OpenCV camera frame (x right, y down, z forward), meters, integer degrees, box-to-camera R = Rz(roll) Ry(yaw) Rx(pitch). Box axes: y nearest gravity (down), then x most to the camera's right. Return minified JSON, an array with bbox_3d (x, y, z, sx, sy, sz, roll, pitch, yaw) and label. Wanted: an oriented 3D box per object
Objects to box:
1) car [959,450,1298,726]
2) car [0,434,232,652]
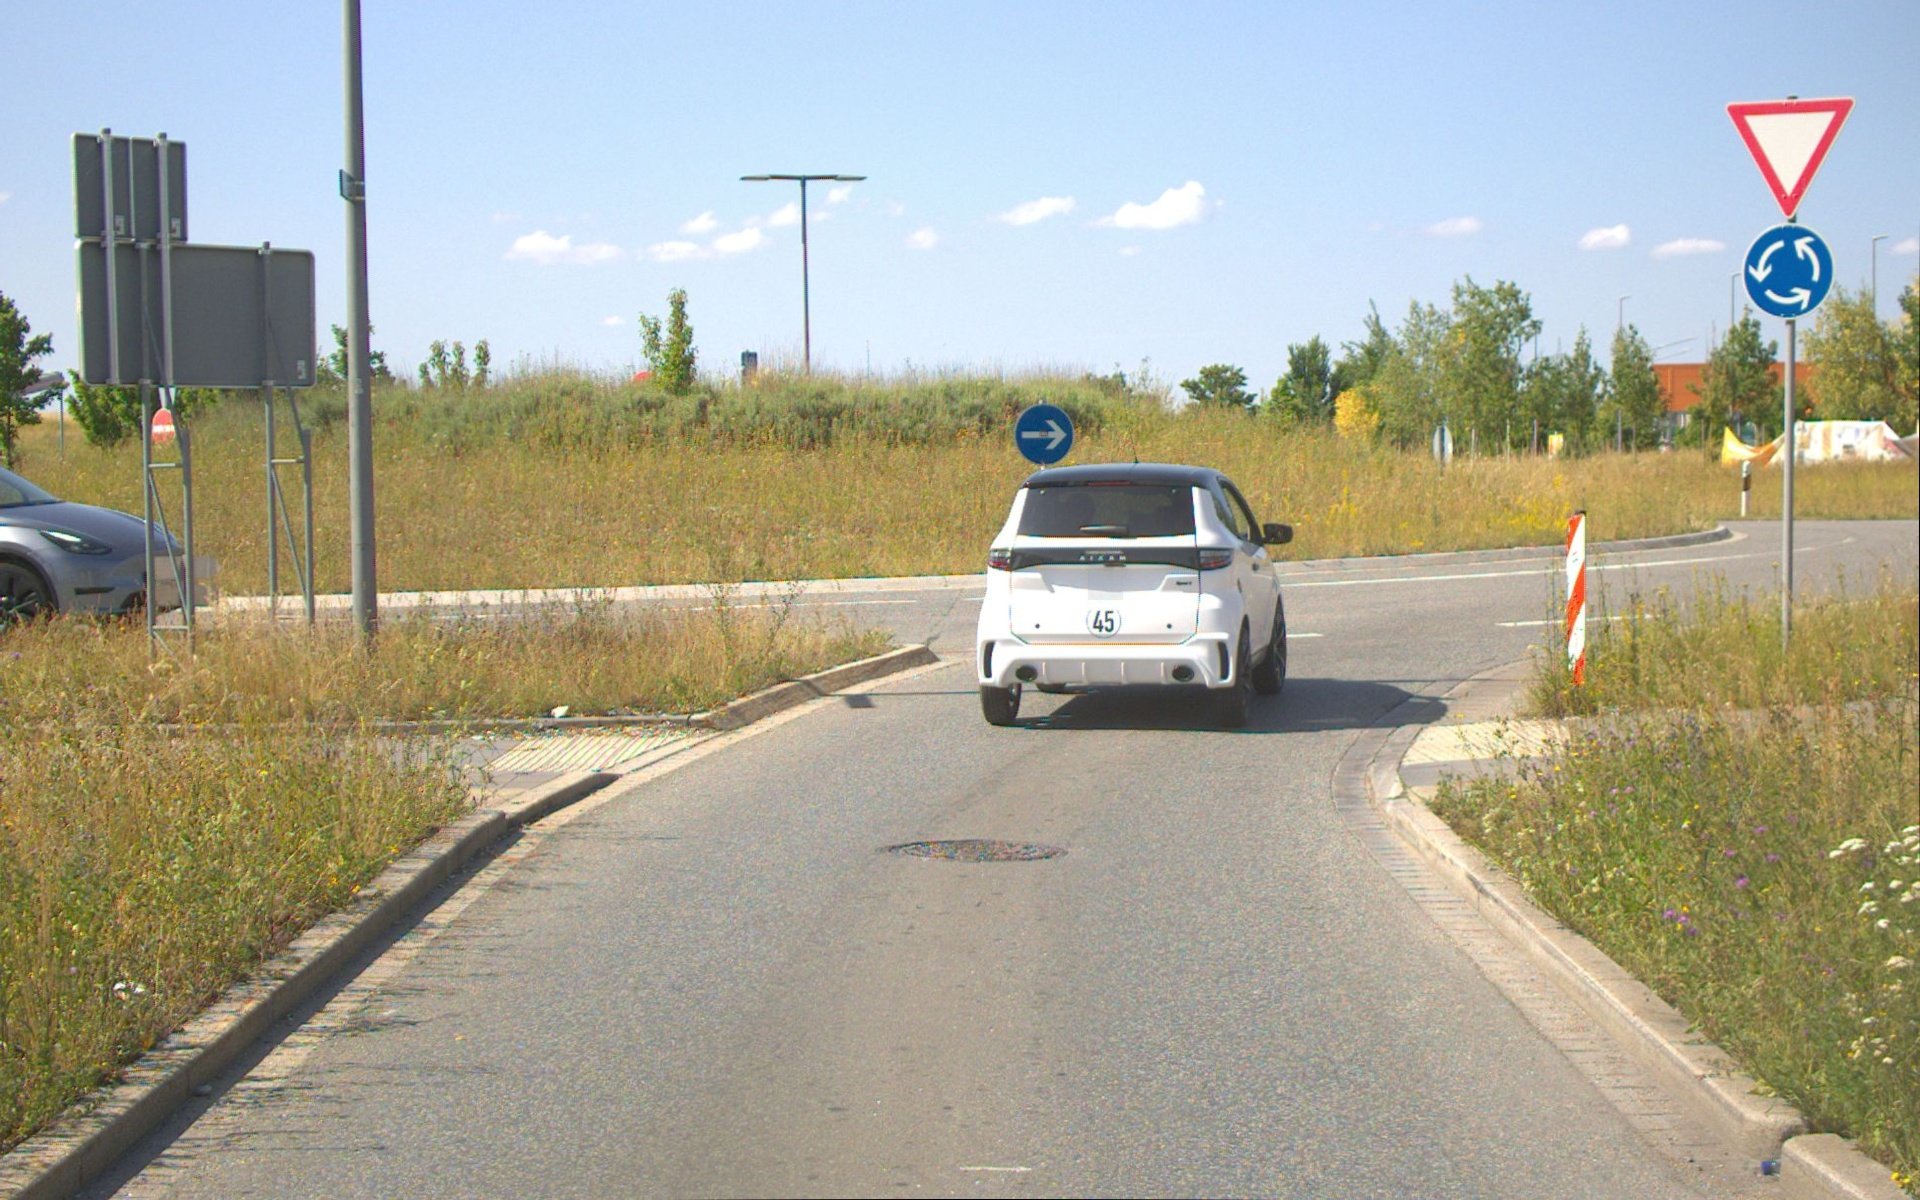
[{"bbox_3d":[1.108,-0.142,20.780,1.617,1.429,3.792,0,4,9],"label":"car"},{"bbox_3d":[-8.411,-0.486,27.596,4.613,1.620,1.962,0,3,16],"label":"car"}]
